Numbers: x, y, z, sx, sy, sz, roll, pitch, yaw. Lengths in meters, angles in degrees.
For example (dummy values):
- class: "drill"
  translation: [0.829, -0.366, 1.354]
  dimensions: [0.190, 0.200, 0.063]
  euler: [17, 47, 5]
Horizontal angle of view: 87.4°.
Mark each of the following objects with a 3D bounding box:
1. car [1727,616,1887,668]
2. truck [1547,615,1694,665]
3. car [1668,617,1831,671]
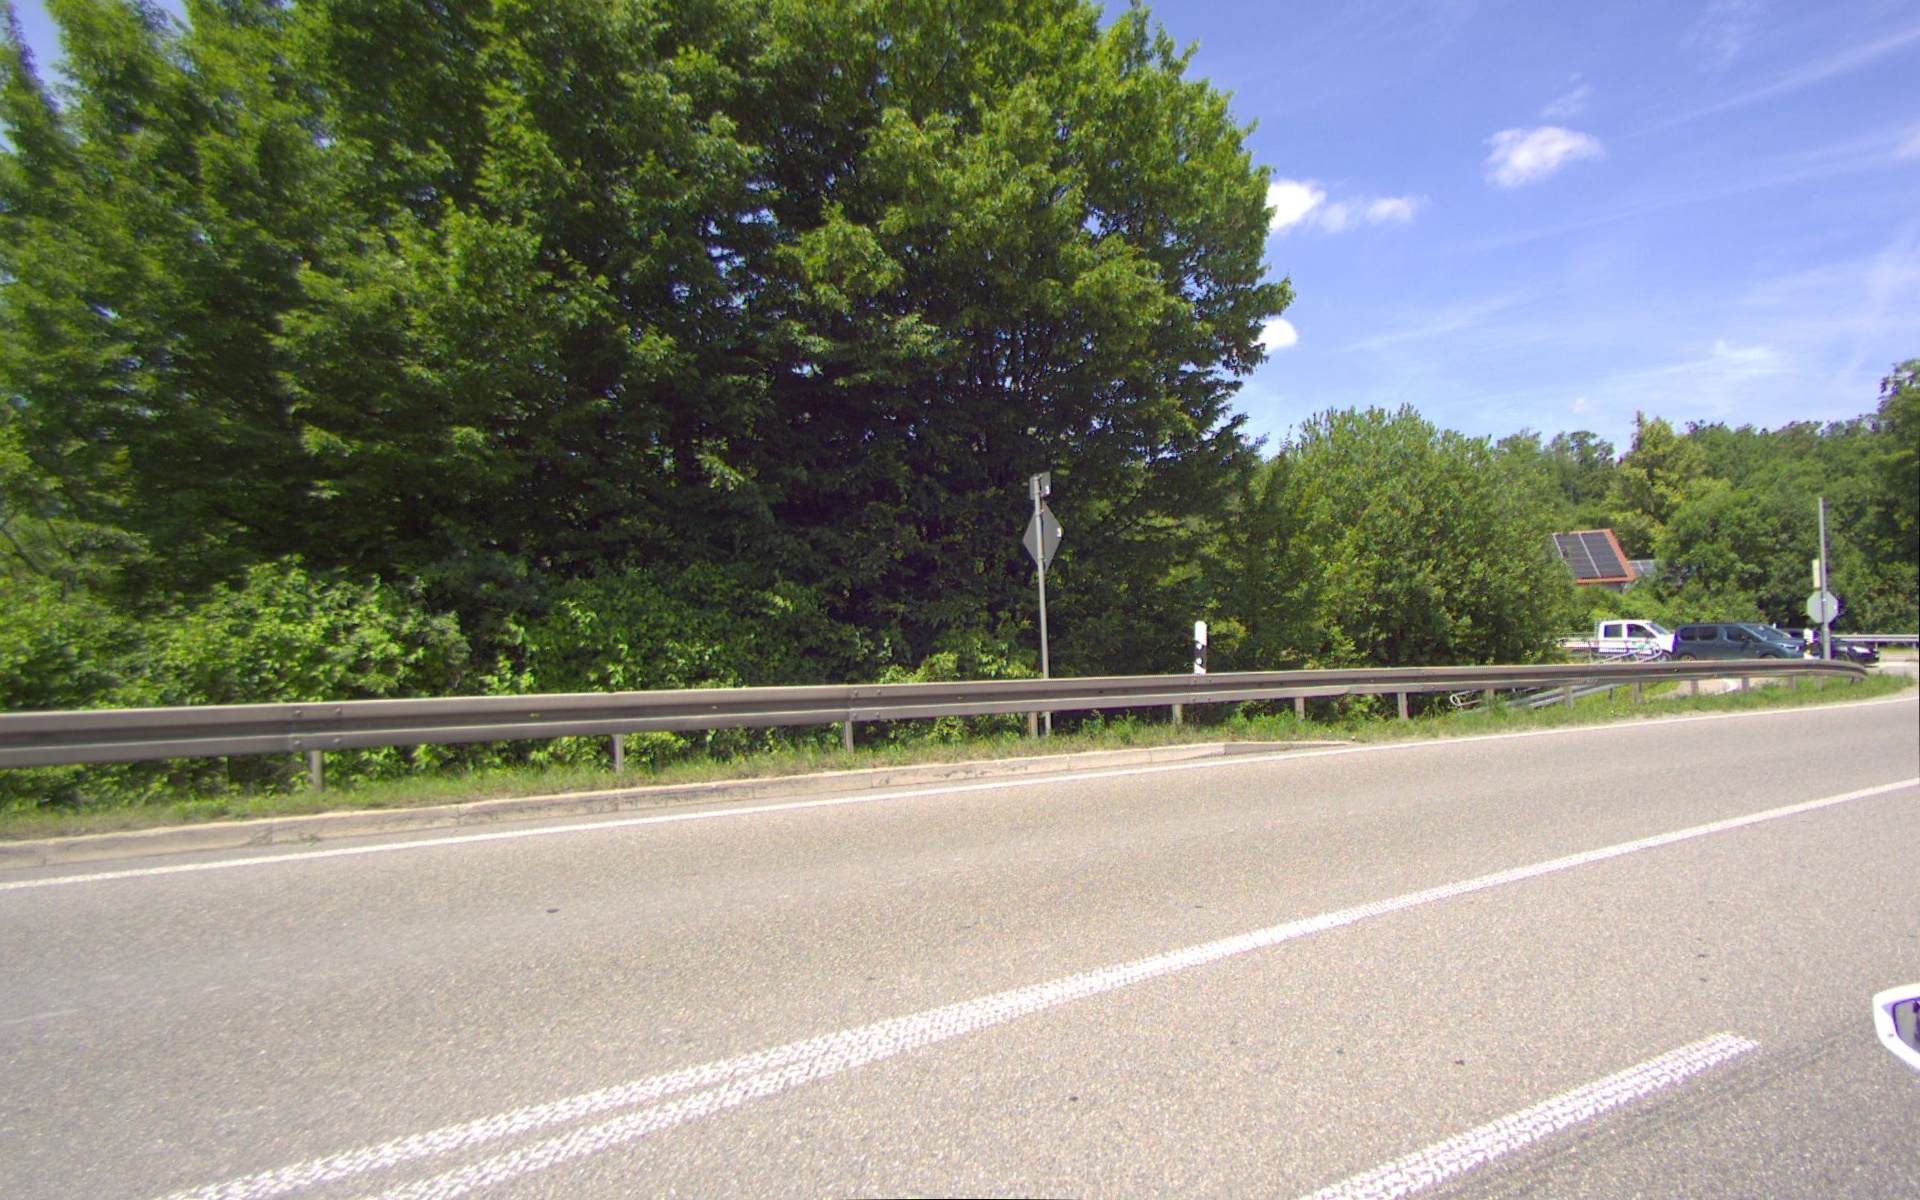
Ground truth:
- class: "car"
  translation: [31.860, 1.544, 37.943]
  dimensions: [1.969, 1.793, 4.230]
  euler: [1, -1, -19]
- class: "truck"
  translation: [28.116, 1.682, 42.875]
  dimensions: [2.027, 1.815, 4.834]
  euler: [3, -1, -40]
- class: "car"
  translation: [28.225, 1.532, 36.086]
  dimensions: [1.969, 1.793, 4.230]
  euler: [1, -1, -19]
